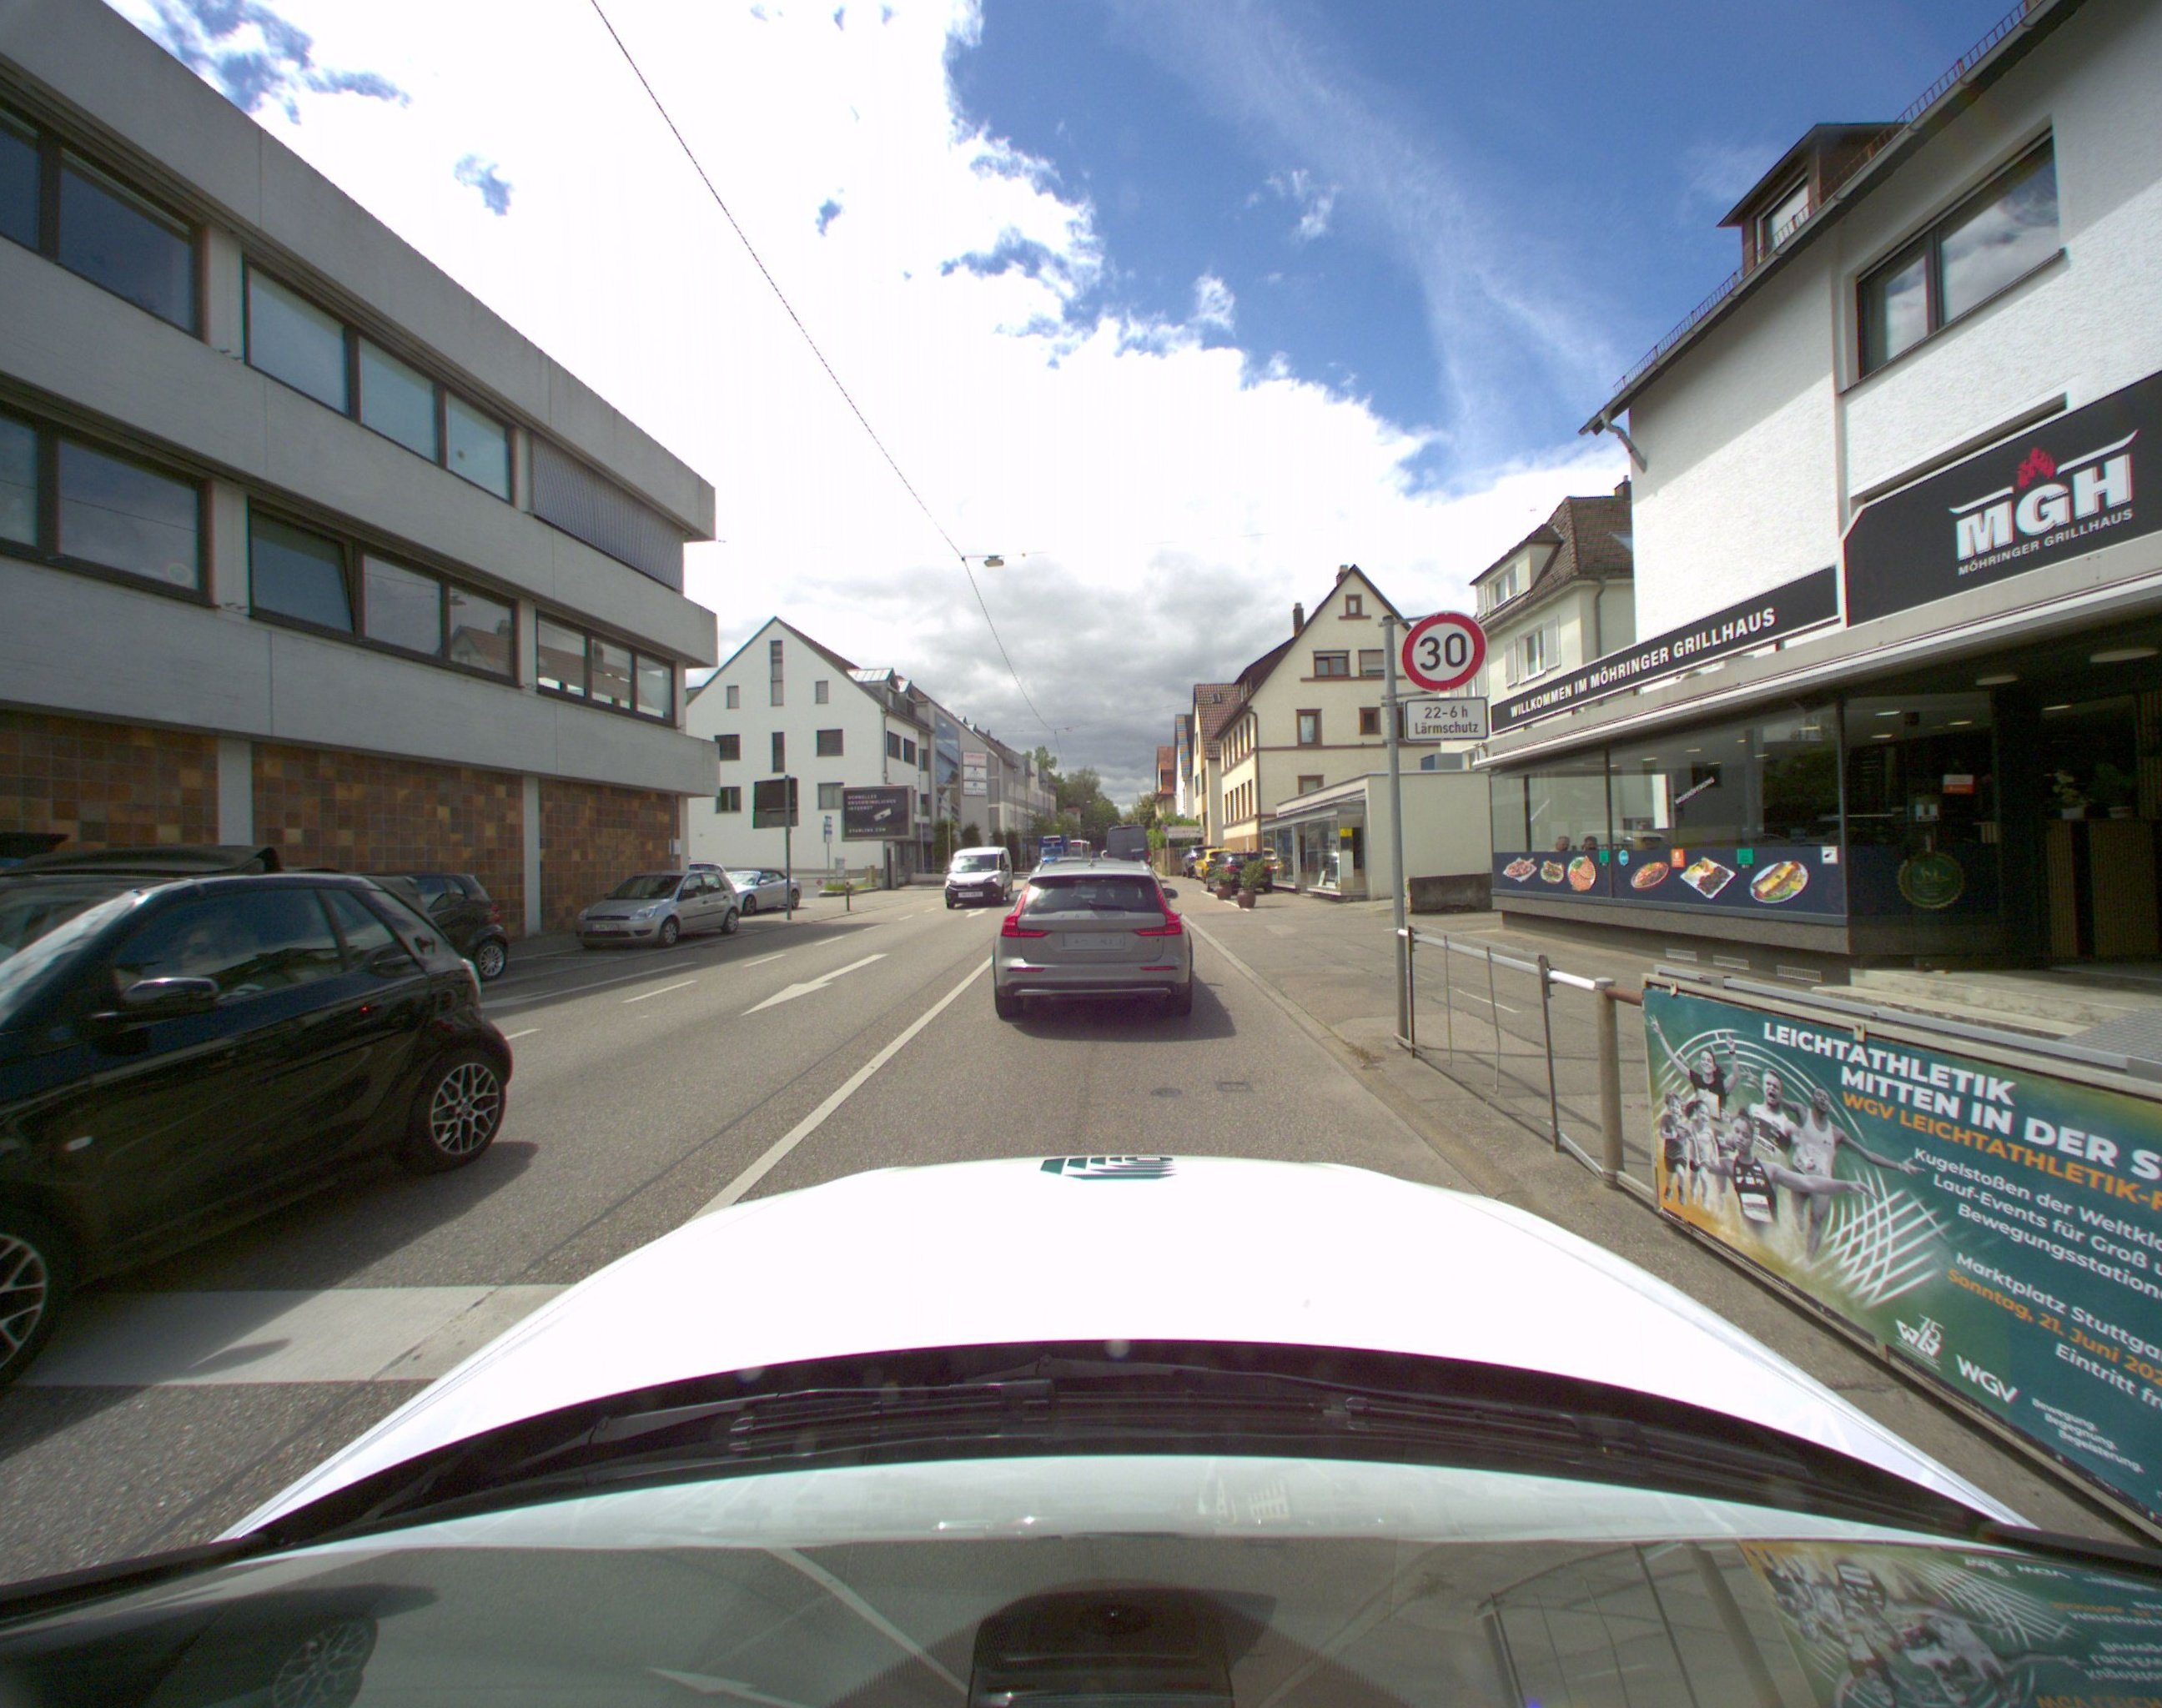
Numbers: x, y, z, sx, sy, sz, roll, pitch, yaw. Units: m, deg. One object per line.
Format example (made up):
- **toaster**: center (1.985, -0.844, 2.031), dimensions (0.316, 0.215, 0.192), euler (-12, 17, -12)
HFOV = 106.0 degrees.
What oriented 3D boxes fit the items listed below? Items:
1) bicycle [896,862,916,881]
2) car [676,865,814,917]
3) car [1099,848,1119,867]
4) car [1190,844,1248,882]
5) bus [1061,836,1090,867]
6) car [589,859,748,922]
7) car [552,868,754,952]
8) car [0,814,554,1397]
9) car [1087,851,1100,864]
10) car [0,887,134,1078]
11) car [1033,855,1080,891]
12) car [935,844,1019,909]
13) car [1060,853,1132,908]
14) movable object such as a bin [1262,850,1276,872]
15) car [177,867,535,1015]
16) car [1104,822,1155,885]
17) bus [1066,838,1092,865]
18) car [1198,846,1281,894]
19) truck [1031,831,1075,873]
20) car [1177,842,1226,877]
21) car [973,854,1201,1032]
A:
- **bicycle**: center (-10.801, 1.076, 50.219), dimensions (0.628, 1.095, 2.005), euler (-2, 0, 4)
- **car**: center (-10.488, 1.116, 25.895), dimensions (1.941, 1.358, 4.864), euler (-2, 0, 6)
- **car**: center (3.042, 0.399, 88.248), dimensions (1.985, 2.013, 4.004), euler (-1, 0, 4)
- **car**: center (6.165, 0.363, 36.779), dimensions (1.871, 1.447, 4.307), euler (-2, 2, 0)
- **bus**: center (-0.499, -0.291, 91.581), dimensions (2.672, 3.163, 10.189), euler (-2, 0, 2)
- **car**: center (-13.088, 1.089, 26.266), dimensions (1.940, 1.619, 4.941), euler (-4, 0, 8)
- **car**: center (-8.602, 1.060, 16.842), dimensions (1.714, 1.422, 4.153), euler (-1, 0, 4)
- **car**: center (-3.888, 0.736, 3.237), dimensions (1.671, 1.635, 2.833), euler (-2, 0, 0)
- **car**: center (2.217, 0.586, 139.400), dimensions (2.098, 2.121, 4.767), euler (-2, 0, 1)
- **car**: center (-9.557, 1.034, 4.752), dimensions (2.034, 1.444, 4.960), euler (-1, 0, 5)
- **car**: center (-1.018, 0.796, 36.125), dimensions (1.890, 1.446, 3.969), euler (-1, 0, 1)
- **car**: center (-3.213, 0.661, 25.968), dimensions (1.938, 1.821, 4.280), euler (-2, 0, 2)
- **car**: center (0.523, 0.701, 23.802), dimensions (1.888, 1.446, 3.972), euler (-1, 0, 3)
- **movable object such as a bin**: center (8.014, 0.292, 34.695), dimensions (0.498, 0.925, 0.599), euler (-2, 0, 6)
- **car**: center (-9.034, 0.992, 10.507), dimensions (1.728, 1.556, 3.061), euler (-1, 0, 5)
- **car**: center (2.318, -0.032, 39.901), dimensions (2.244, 2.795, 5.572), euler (-2, 0, 2)
- **bus**: center (-0.123, -0.300, 100.696), dimensions (2.705, 3.163, 8.074), euler (-2, 0, 3)
- **car**: center (5.382, 0.521, 28.283), dimensions (1.962, 1.447, 4.535), euler (-2, 0, 0)
- **truck**: center (-2.205, -0.146, 66.717), dimensions (2.842, 3.093, 8.094), euler (-2, 0, 3)
- **car**: center (6.088, 0.255, 41.573), dimensions (1.854, 1.612, 4.587), euler (-3, 0, 1)
- **car**: center (0.183, 0.753, 8.801), dimensions (1.888, 1.453, 3.973), euler (-1, 0, 4)
